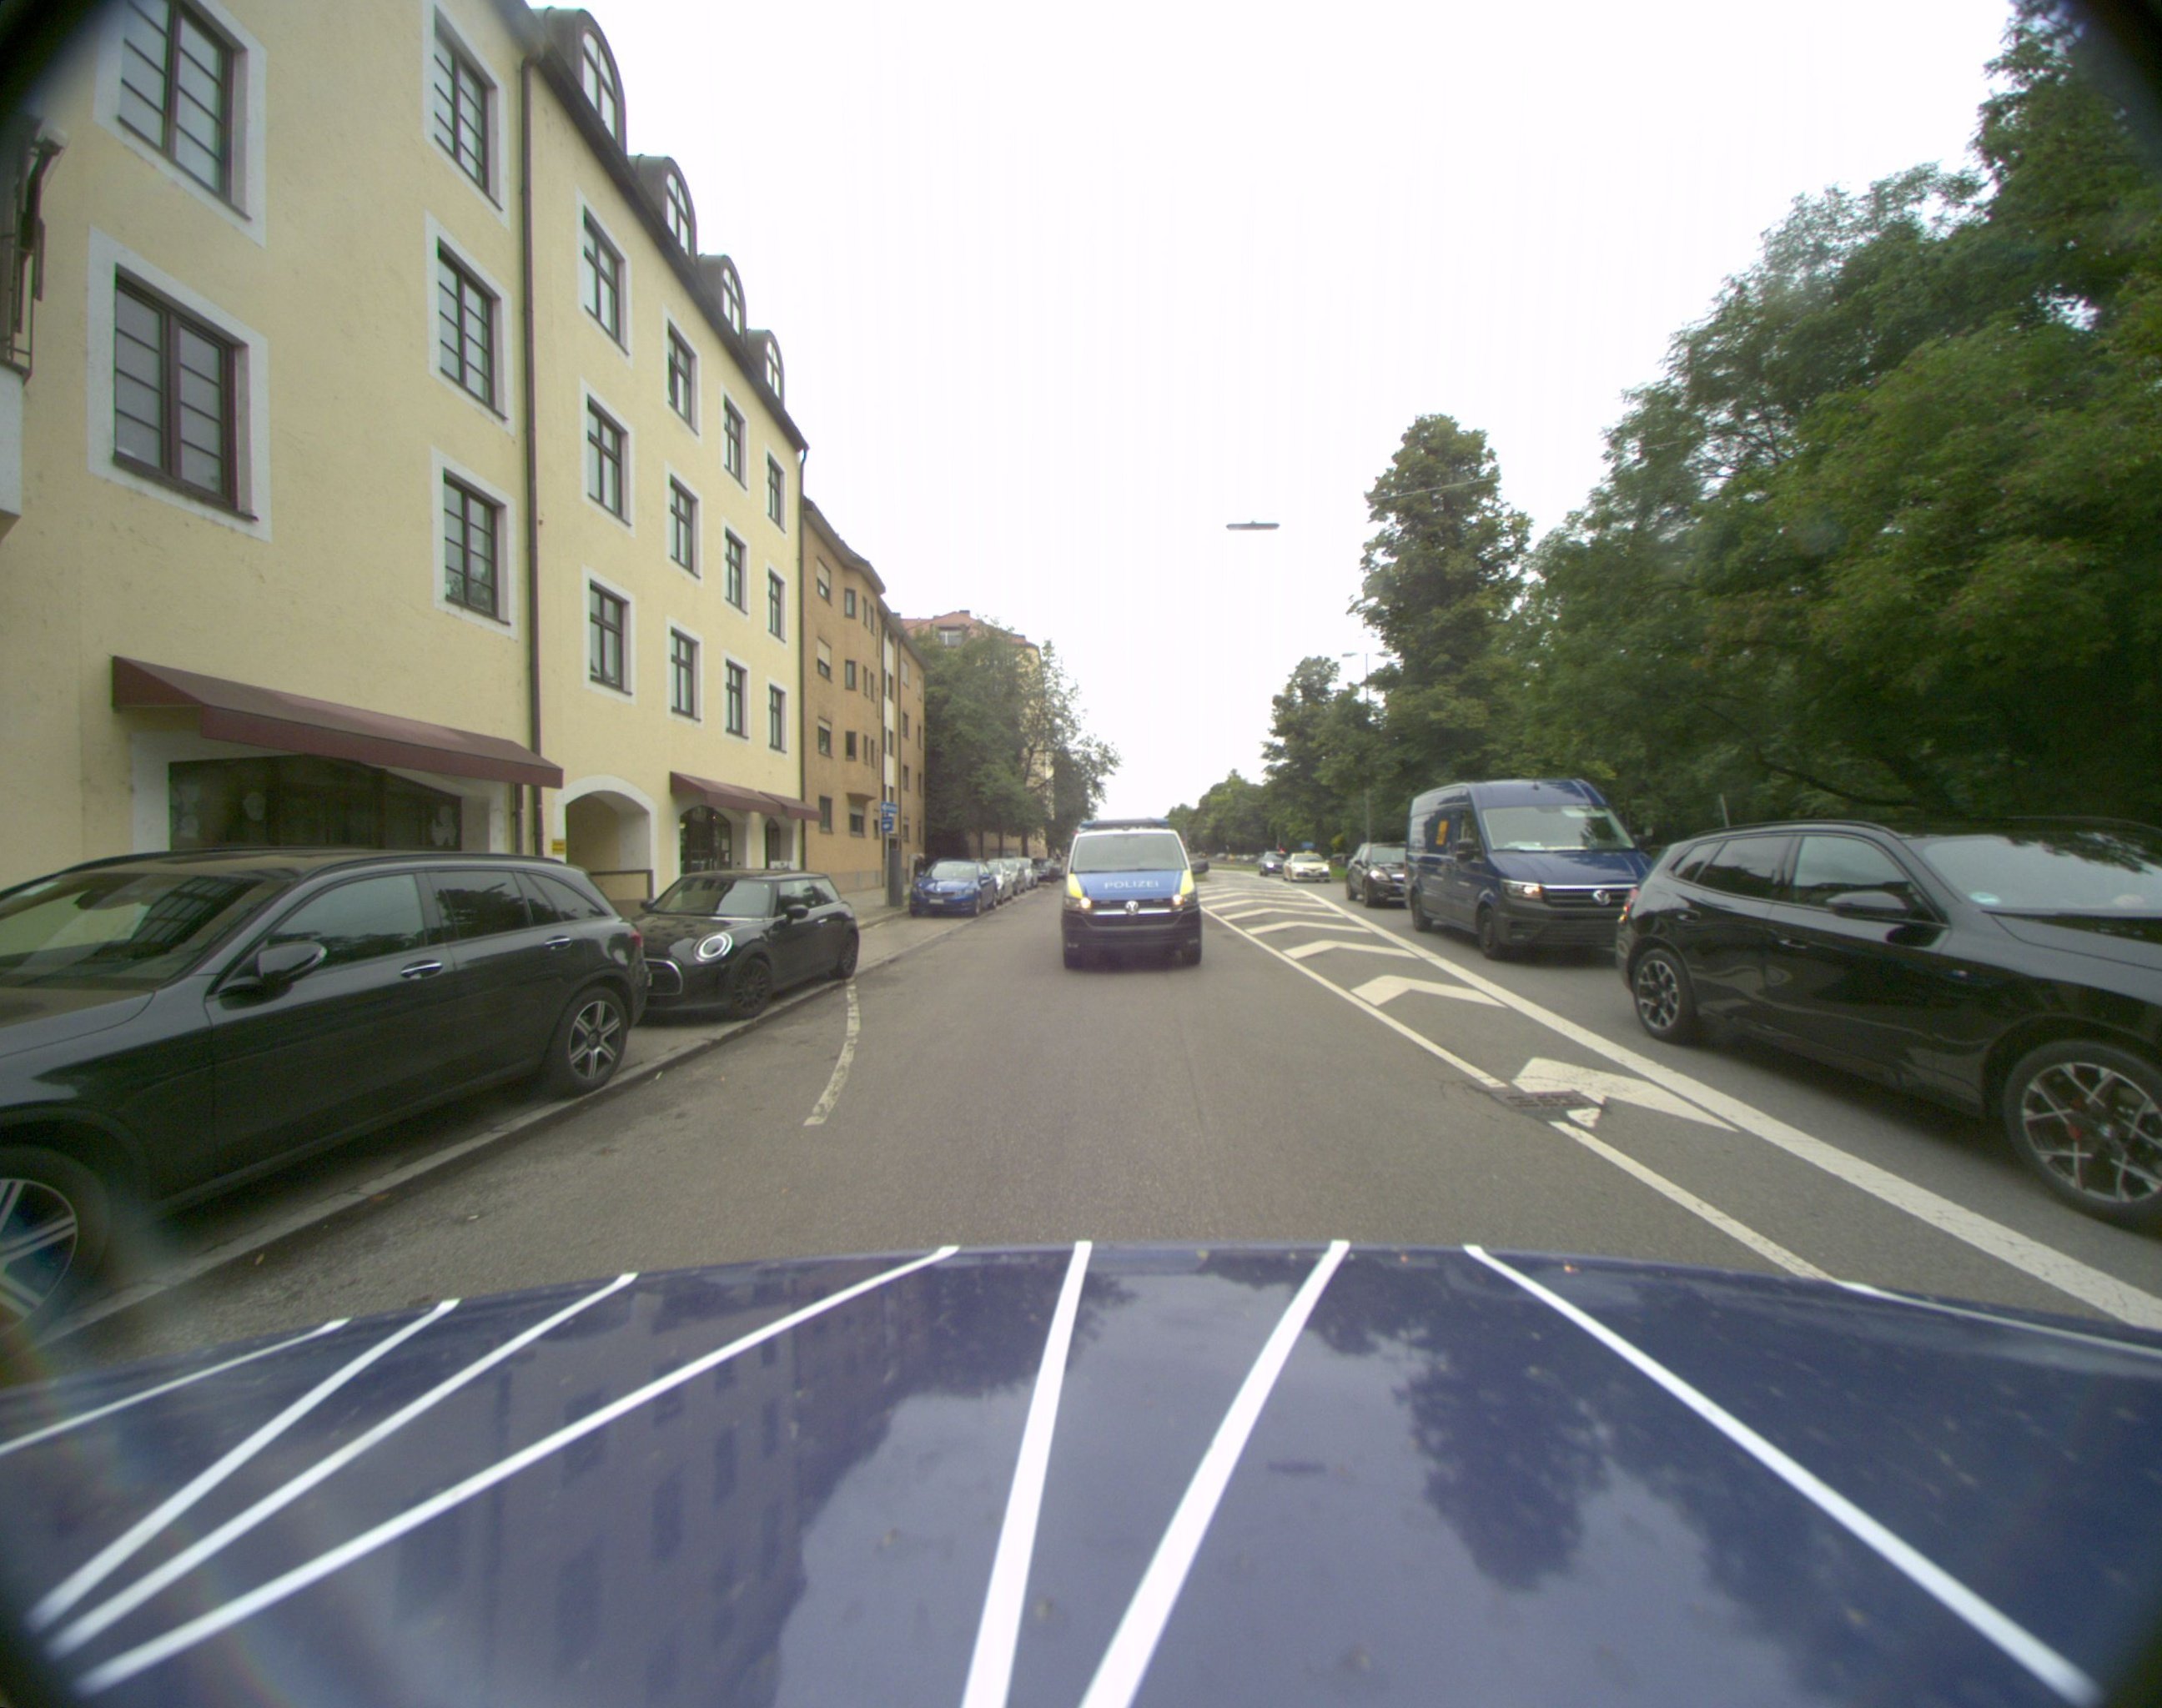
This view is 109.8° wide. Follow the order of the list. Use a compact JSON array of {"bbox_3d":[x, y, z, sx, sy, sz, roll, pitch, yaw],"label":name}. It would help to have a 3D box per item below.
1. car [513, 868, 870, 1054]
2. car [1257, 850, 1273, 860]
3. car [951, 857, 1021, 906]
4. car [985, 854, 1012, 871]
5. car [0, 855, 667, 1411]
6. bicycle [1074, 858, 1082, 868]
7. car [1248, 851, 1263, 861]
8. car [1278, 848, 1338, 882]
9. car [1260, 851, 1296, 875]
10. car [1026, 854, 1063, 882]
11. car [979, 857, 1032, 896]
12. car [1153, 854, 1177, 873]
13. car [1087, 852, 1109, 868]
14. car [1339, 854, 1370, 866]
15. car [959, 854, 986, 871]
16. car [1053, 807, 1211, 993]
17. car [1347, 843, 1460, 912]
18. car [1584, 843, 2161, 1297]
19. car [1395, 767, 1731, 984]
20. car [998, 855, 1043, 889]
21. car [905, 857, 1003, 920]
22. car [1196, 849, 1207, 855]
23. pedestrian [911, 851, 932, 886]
[{"bbox_3d":[-3.926,0.955,8.487,1.760,1.487,3.824,1,0,5],"label":"car"},{"bbox_3d":[32.681,0.219,135.269,1.885,1.736,4.000,-1,0,1],"label":"car"},{"bbox_3d":[-3.153,0.857,26.067,1.694,1.487,4.434,1,0,2],"label":"car"},{"bbox_3d":[-7.290,0.712,67.753,2.054,1.458,4.244,0,0,-2],"label":"car"},{"bbox_3d":[-4.147,0.862,3.489,1.760,1.669,4.707,1,0,2],"label":"car"},{"bbox_3d":[-0.278,0.875,74.958,0.632,1.031,1.736,0,0,7],"label":"bicycle"},{"bbox_3d":[32.785,0.321,142.719,1.866,1.736,4.000,-1,0,1],"label":"car"},{"bbox_3d":[11.160,0.507,37.663,1.991,1.556,4.656,0,0,6],"label":"car"},{"bbox_3d":[13.063,0.583,50.581,1.990,1.556,4.276,0,0,10],"label":"car"},{"bbox_3d":[-2.082,0.783,45.018,1.796,1.488,4.376,2,0,2],"label":"car"},{"bbox_3d":[-3.036,0.873,31.169,1.631,1.487,3.787,1,0,2],"label":"car"},{"bbox_3d":[7.119,0.768,64.146,1.902,1.556,4.773,0,0,7],"label":"car"},{"bbox_3d":[1.790,0.589,77.070,2.129,1.556,4.508,-1,0,2],"label":"car"},{"bbox_3d":[33.391,0.751,92.842,1.999,1.438,4.524,1,0,-3],"label":"car"},{"bbox_3d":[-9.616,0.739,67.449,1.917,1.458,4.244,0,0,-2],"label":"car"},{"bbox_3d":[0.712,0.511,11.284,1.856,2.198,4.553,-1,1,3],"label":"car"},{"bbox_3d":[8.391,0.555,20.145,1.990,1.618,4.277,0,0,12],"label":"car"},{"bbox_3d":[5.043,0.753,4.185,1.917,1.577,4.832,0,1,8],"label":"car"},{"bbox_3d":[6.687,0.194,11.624,2.188,2.450,5.854,0,1,9],"label":"car"},{"bbox_3d":[-2.807,0.829,36.073,1.631,1.487,3.821,1,0,2],"label":"car"},{"bbox_3d":[-3.359,0.869,21.018,1.760,1.487,4.488,1,0,2],"label":"car"},{"bbox_3d":[29.568,-0.591,186.135,1.897,1.438,4.032,0,0,-4],"label":"car"},{"bbox_3d":[-7.415,0.663,35.379,0.672,1.614,0.980,-1,1,3],"label":"pedestrian"}]
